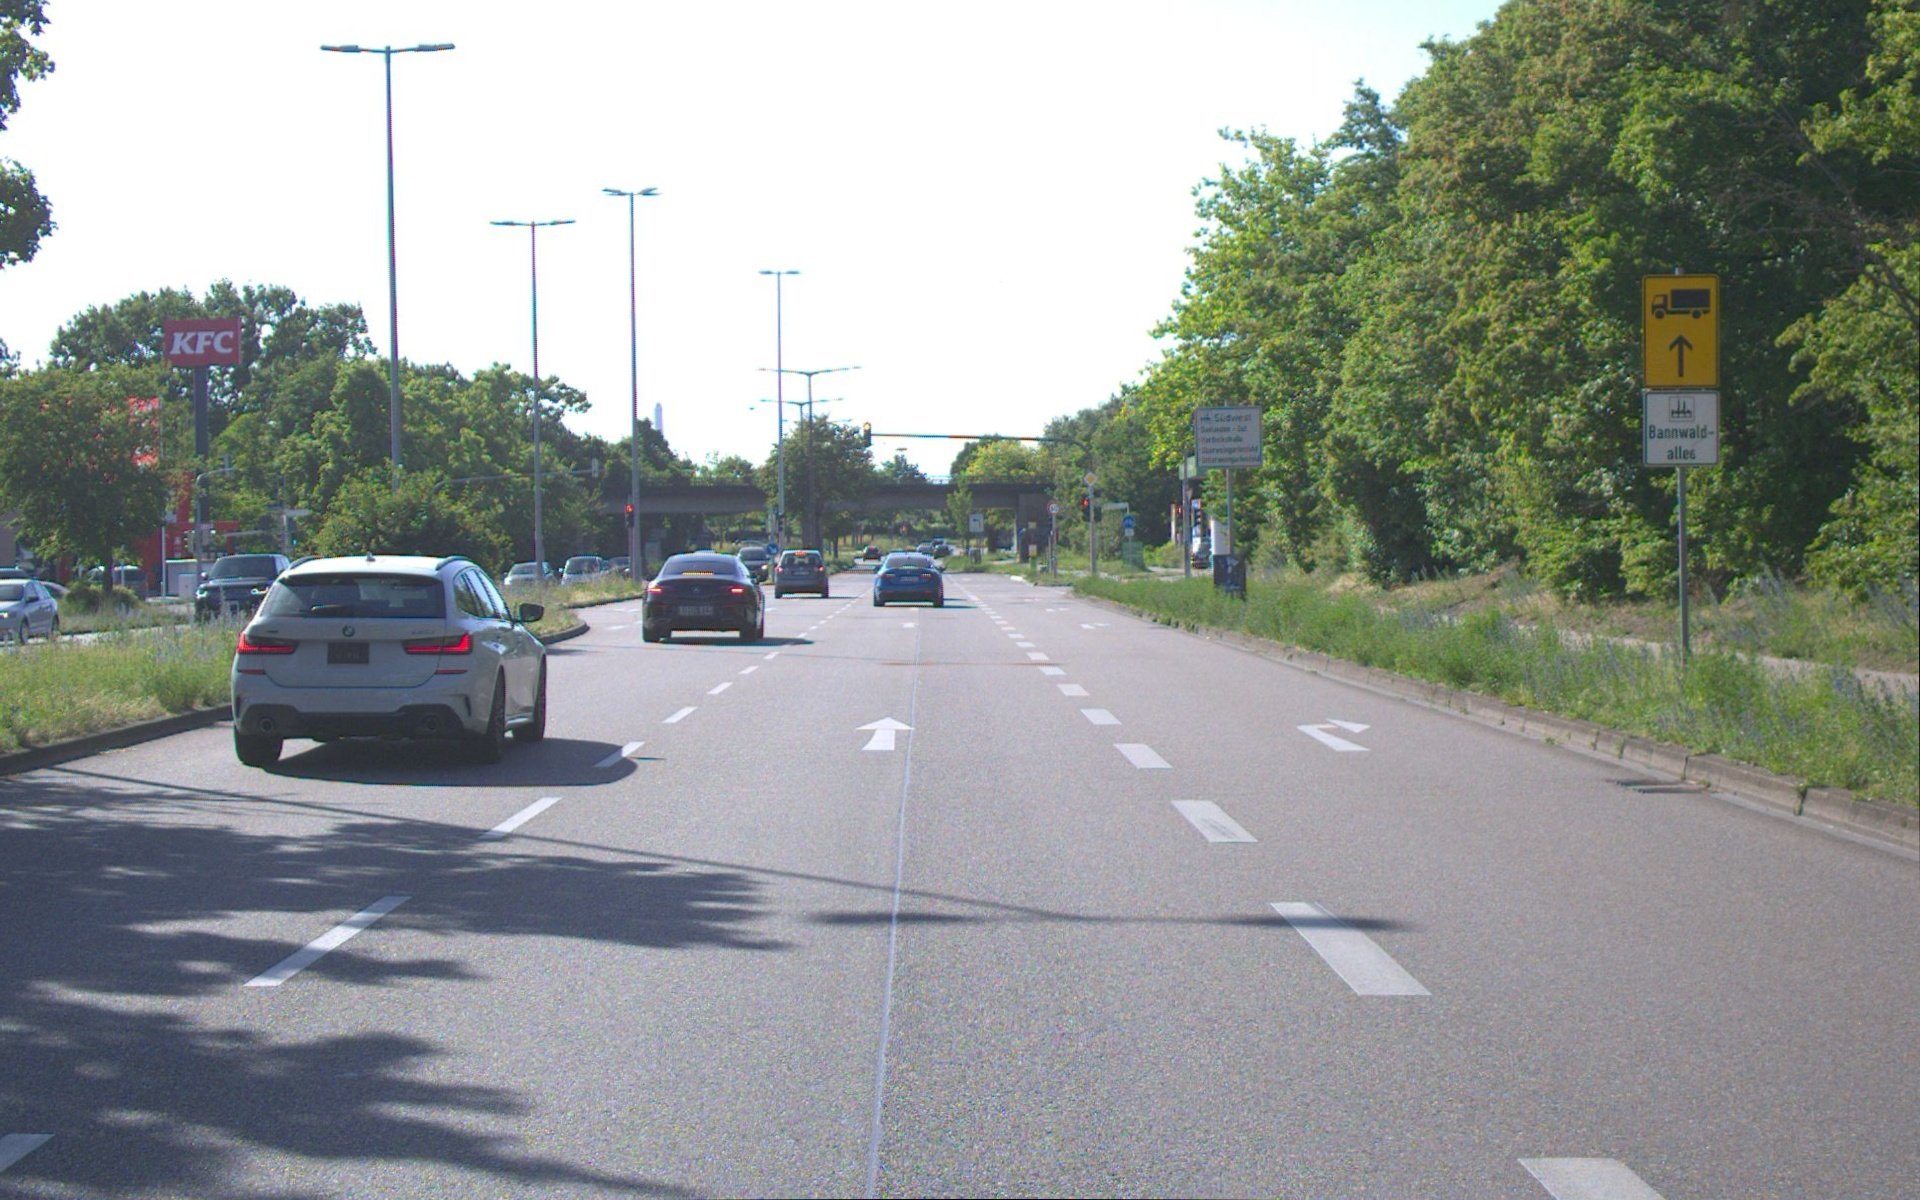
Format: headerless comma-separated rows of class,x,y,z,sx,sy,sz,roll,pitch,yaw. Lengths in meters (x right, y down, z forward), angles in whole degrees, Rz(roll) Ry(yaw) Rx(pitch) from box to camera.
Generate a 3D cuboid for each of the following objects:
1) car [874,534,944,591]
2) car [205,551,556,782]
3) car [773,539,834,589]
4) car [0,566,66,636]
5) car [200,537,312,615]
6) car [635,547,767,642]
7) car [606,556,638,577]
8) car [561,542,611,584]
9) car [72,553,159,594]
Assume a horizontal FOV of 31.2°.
car,-1.391,-1.053,94.886,1.861,1.494,4.337,-1,1,-1
car,-4.116,0.411,25.109,1.861,1.450,4.548,1,2,-1
car,-5.168,-1.207,113.856,1.861,1.560,4.548,-1,1,-1
car,-21.047,0.043,75.417,1.739,1.450,4.209,-3,1,-1
car,-17.596,-0.624,86.155,1.739,1.796,4.672,-4,1,0
car,-4.267,-0.118,57.196,1.861,1.450,4.548,-2,1,-1
car,-22.120,-2.200,225.120,1.703,1.397,3.723,-1,1,-1
car,-13.909,-1.375,128.005,1.493,1.503,3.487,-1,1,-1
car,-37.719,-1.187,153.519,1.922,1.777,4.084,-2,1,-44
